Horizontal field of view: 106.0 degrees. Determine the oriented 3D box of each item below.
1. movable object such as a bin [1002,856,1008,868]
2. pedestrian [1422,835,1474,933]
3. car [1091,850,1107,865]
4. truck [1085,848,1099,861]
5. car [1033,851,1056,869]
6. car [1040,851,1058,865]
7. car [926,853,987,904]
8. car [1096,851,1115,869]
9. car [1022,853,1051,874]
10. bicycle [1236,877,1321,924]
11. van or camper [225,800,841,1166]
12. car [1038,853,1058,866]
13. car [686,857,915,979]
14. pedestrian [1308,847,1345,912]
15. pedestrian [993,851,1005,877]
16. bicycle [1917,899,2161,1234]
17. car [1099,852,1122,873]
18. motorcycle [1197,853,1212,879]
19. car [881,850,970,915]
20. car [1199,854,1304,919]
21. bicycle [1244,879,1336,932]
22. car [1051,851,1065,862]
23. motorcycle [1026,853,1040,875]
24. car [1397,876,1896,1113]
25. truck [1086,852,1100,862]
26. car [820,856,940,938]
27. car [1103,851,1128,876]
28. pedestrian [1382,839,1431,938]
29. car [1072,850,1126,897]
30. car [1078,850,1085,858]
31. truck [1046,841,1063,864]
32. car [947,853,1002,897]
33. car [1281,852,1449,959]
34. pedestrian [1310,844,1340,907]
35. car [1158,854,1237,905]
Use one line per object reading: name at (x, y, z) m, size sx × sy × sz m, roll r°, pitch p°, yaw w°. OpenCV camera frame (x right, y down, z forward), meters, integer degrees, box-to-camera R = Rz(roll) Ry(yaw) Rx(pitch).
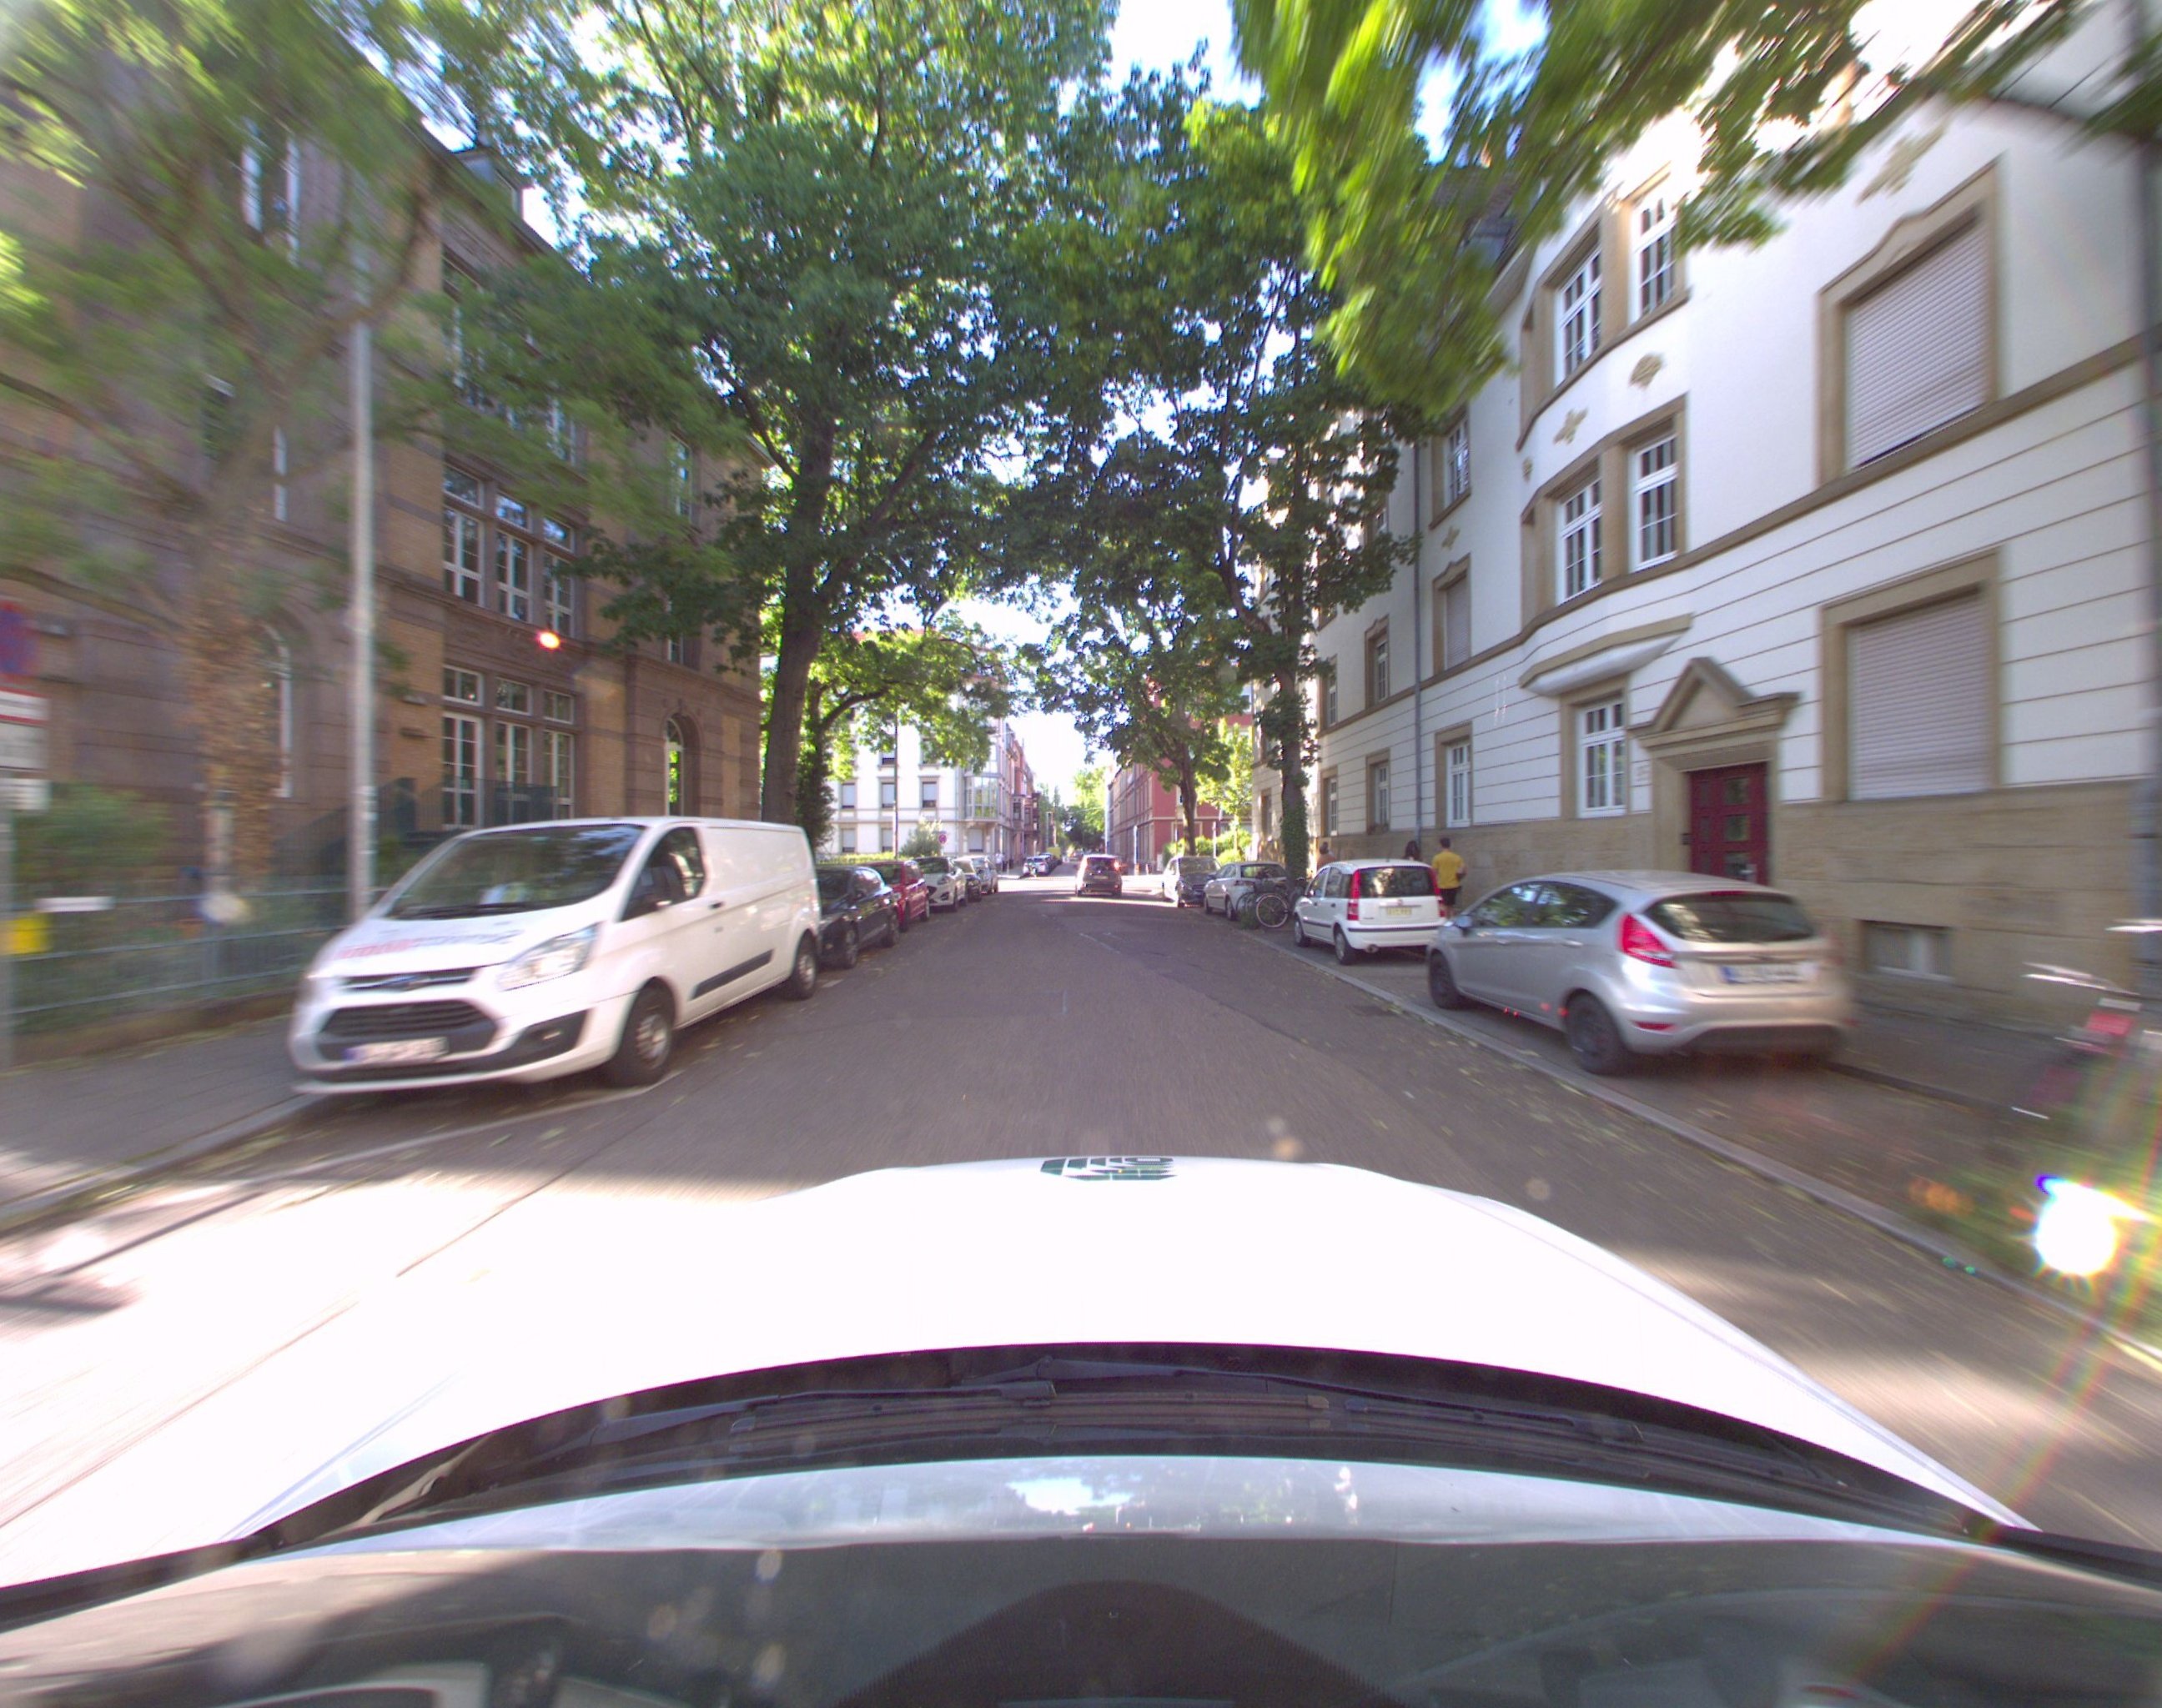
movable object such as a bin at (-6.318, 0.684, 67.710) m, size 0.510 × 0.952 × 0.500 m, roll 0°, pitch 0°, yaw -3°
pedestrian at (6.507, 0.518, 14.460) m, size 0.593 × 1.701 × 0.689 m, roll -1°, pitch 0°, yaw 1°
car at (1.873, 0.394, 86.695) m, size 1.657 × 1.505 × 3.757 m, roll 1°, pitch 0°, yaw 0°
truck at (1.680, 0.095, 126.292) m, size 1.987 × 1.992 × 3.999 m, roll 0°, pitch 0°, yaw -1°
car at (-3.385, 0.527, 76.284) m, size 1.822 × 1.479 × 3.925 m, roll -4°, pitch 0°, yaw 0°
car at (-3.856, 0.456, 98.372) m, size 1.955 × 1.479 × 3.925 m, roll -4°, pitch 0°, yaw 0°
car at (-4.206, 0.780, 28.065) m, size 1.744 × 1.474 × 4.454 m, roll -4°, pitch 1°, yaw -6°
car at (2.187, 0.518, 73.026) m, size 1.657 × 1.505 × 3.757 m, roll 1°, pitch 0°, yaw 0°
car at (-3.234, 0.673, 59.883) m, size 1.791 × 1.431 × 3.925 m, roll -4°, pitch 0°, yaw 0°
bicycle at (4.358, 1.023, 18.054) m, size 1.710 × 0.949 × 0.733 m, roll -1°, pitch 0°, yaw -1°
van or camper at (-3.938, 0.733, 7.412) m, size 1.916 × 1.979 × 5.458 m, roll -3°, pitch 0°, yaw -2°
car at (-3.613, 0.619, 90.725) m, size 1.955 × 1.224 × 3.925 m, roll -4°, pitch 0°, yaw 0°
car at (-4.122, 0.844, 12.924) m, size 1.995 × 1.457 × 4.604 m, roll -3°, pitch 0°, yaw 0°
pedestrian at (6.615, 0.675, 21.962) m, size 0.775 × 1.694 × 0.875 m, roll 0°, pitch 0°, yaw 2°
pedestrian at (-5.971, 0.711, 59.431) m, size 0.718 × 1.839 × 0.628 m, roll 1°, pitch 0°, yaw 10°
bicycle at (5.071, 0.844, 3.590) m, size 1.963 × 1.229 × 0.760 m, roll -2°, pitch 0°, yaw 0°
car at (2.213, 0.635, 62.027) m, size 1.657 × 1.505 × 3.757 m, roll 1°, pitch 0°, yaw 0°
motorcycle at (7.322, 0.686, 48.459) m, size 0.822 × 1.404 × 2.562 m, roll 0°, pitch 2°, yaw 8°
car at (-4.303, 0.734, 23.148) m, size 1.821 × 1.554 × 4.129 m, roll -4°, pitch 0°, yaw -3°
car at (4.276, 0.765, 20.950) m, size 1.608 × 1.478 × 3.864 m, roll 0°, pitch 0°, yaw -5°
bicycle at (4.304, 1.051, 16.830) m, size 1.764 × 1.039 × 0.606 m, roll 0°, pitch 0°, yaw -1°
car at (-3.547, 0.348, 127.749) m, size 1.955 × 1.479 × 3.925 m, roll -4°, pitch 0°, yaw 0°
motorcycle at (-3.346, 0.664, 56.584) m, size 0.696 × 1.460 × 1.745 m, roll -1°, pitch 0°, yaw -10°
car at (4.492, 0.967, 7.378) m, size 1.617 × 1.394 × 4.156 m, roll -1°, pitch 0°, yaw 0°
truck at (1.770, 0.440, 120.913) m, size 1.987 × 1.456 × 3.999 m, roll 0°, pitch 0°, yaw -1°
car at (-4.258, 0.839, 17.823) m, size 1.597 × 1.460 × 4.026 m, roll -3°, pitch 0°, yaw -1°
car at (2.414, 0.637, 57.537) m, size 1.657 × 1.669 × 3.757 m, roll 1°, pitch 0°, yaw 0°
pedestrian at (5.859, 0.598, 14.694) m, size 0.518 × 1.735 × 0.878 m, roll -1°, pitch 0°, yaw 1°
car at (0.609, 0.679, 29.891) m, size 1.629 × 1.550 × 3.260 m, roll 2°, pitch 1°, yaw -4°
car at (0.087, -0.017, 180.057) m, size 1.363 × 1.618 × 3.413 m, roll 0°, pitch 0°, yaw 0°
truck at (-3.628, -0.256, 112.485) m, size 2.064 × 2.925 × 5.067 m, roll -4°, pitch 0°, yaw 0°
car at (-4.267, 0.792, 33.164) m, size 1.692 × 1.550 × 3.917 m, roll -4°, pitch 0°, yaw -1°
car at (4.463, 0.722, 13.311) m, size 1.515 × 1.511 × 3.543 m, roll -1°, pitch 0°, yaw 0°
pedestrian at (6.840, 0.597, 22.856) m, size 0.488 × 1.705 × 0.757 m, roll -3°, pitch 0°, yaw -2°
car at (3.753, 0.778, 26.947) m, size 1.785 × 1.551 × 4.404 m, roll 0°, pitch 0°, yaw -3°
